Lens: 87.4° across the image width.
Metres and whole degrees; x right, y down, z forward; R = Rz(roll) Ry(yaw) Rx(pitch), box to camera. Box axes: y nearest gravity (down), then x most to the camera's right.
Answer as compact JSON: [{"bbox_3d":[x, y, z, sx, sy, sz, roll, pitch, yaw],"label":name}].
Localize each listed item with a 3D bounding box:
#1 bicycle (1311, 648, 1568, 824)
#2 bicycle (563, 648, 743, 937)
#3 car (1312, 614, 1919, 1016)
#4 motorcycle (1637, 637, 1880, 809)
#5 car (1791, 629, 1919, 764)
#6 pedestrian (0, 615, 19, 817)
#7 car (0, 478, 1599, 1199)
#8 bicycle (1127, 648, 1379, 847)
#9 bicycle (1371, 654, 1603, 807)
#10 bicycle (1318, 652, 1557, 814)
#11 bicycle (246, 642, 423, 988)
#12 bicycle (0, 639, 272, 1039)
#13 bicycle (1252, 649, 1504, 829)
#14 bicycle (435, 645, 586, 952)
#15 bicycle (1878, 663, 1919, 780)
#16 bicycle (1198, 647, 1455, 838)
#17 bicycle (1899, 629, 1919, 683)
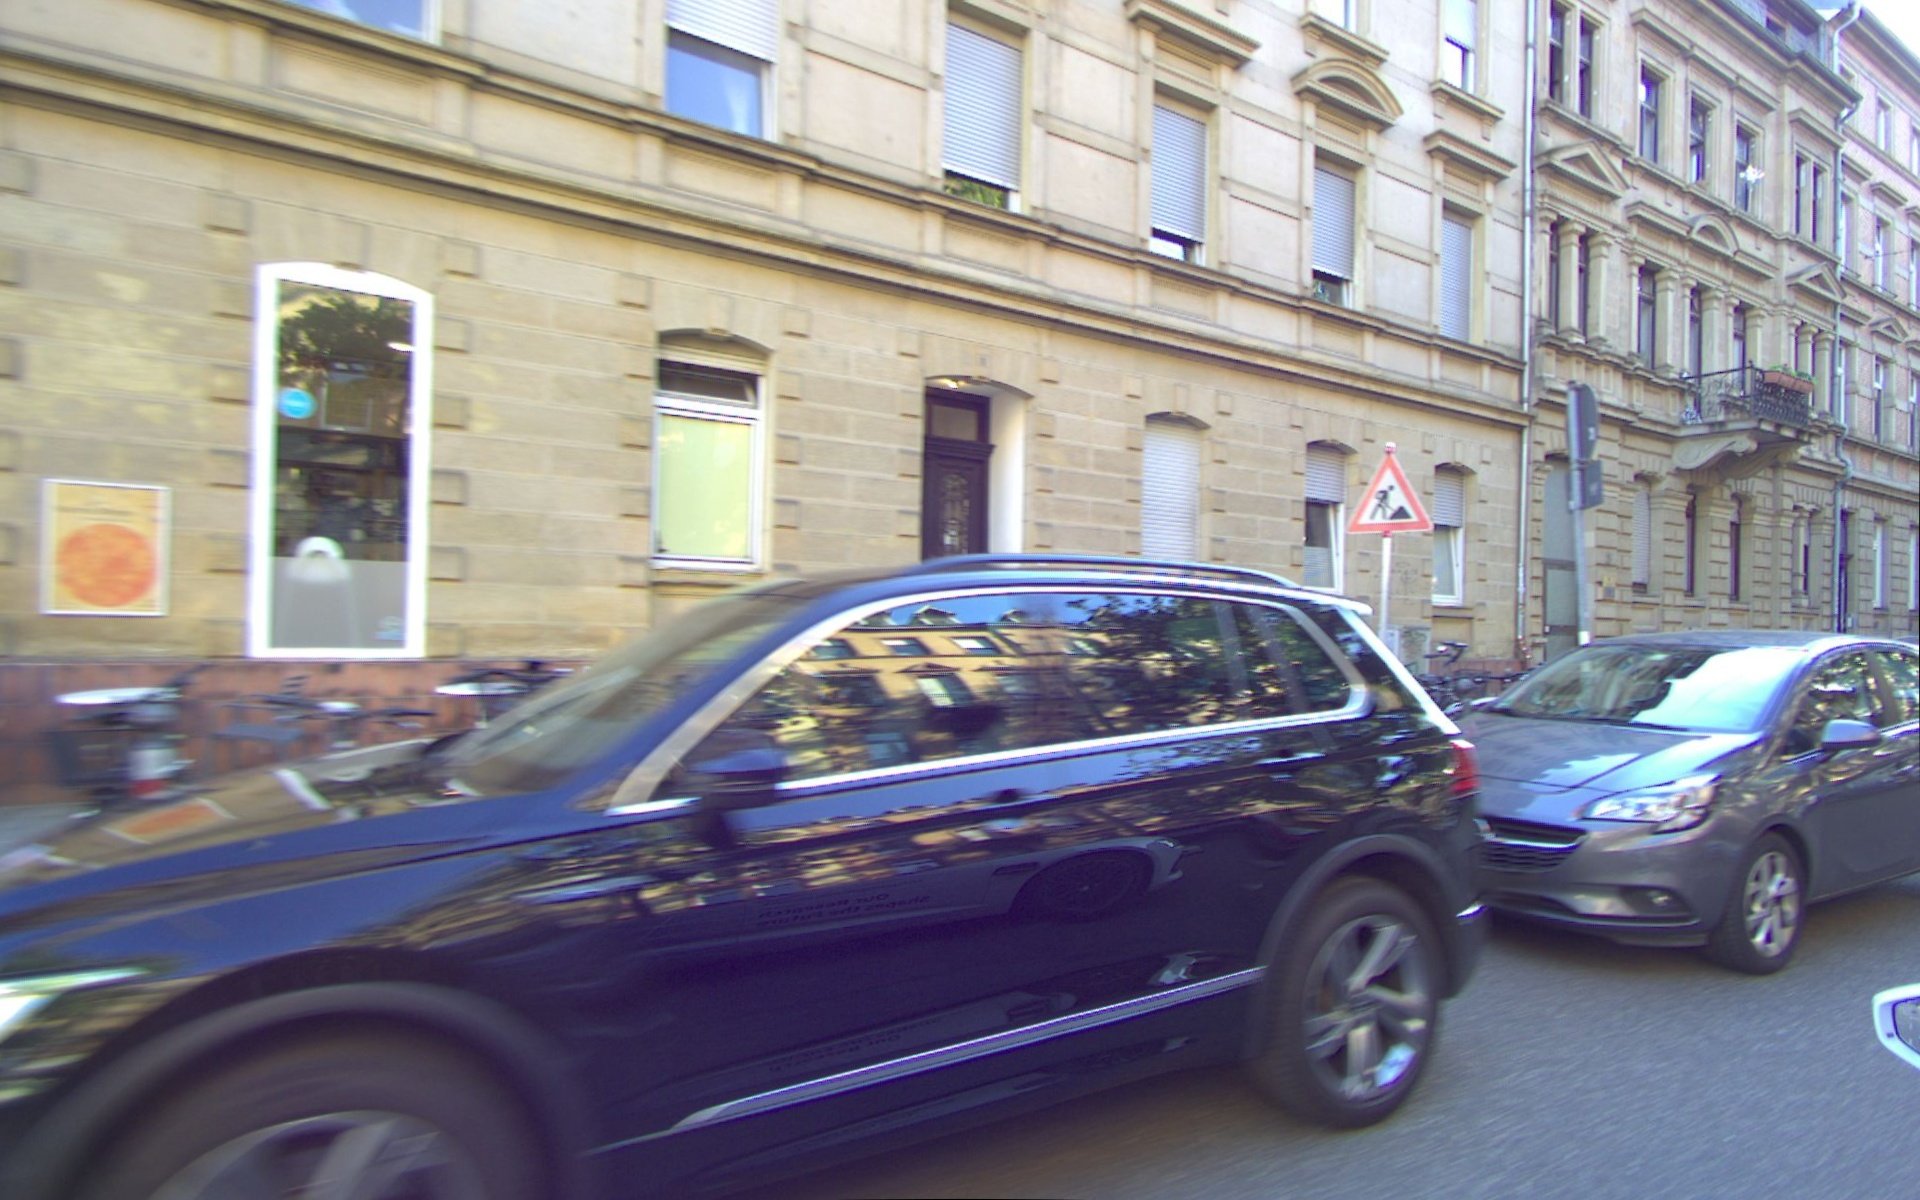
[{"bbox_3d":[3.760,1.011,8.055,0.522,1.143,1.858,2,0,-30],"label":"bicycle"},{"bbox_3d":[-1.675,0.876,5.271,0.522,1.143,1.859,2,0,-28],"label":"bicycle"},{"bbox_3d":[4.041,0.878,5.579,4.011,1.521,1.751,1,-2,-29],"label":"car"},{"bbox_3d":[7.544,1.056,9.443,2.579,1.388,1.059,1,-1,-34],"label":"motorcycle"},{"bbox_3d":[12.454,1.139,12.654,4.011,1.521,1.751,1,-2,-29],"label":"car"},{"bbox_3d":[-6.108,0.696,5.861,0.749,1.230,0.721,2,-1,-33],"label":"pedestrian"},{"bbox_3d":[-0.216,0.687,3.125,4.493,1.621,1.752,1,-2,-28],"label":"car"},{"bbox_3d":[2.017,0.964,7.202,0.522,1.143,1.858,2,0,-30],"label":"bicycle"},{"bbox_3d":[4.724,1.116,9.149,0.522,1.143,1.858,2,0,-30],"label":"bicycle"},{"bbox_3d":[4.030,1.071,8.646,0.522,1.143,1.858,2,0,-30],"label":"bicycle"},{"bbox_3d":[-2.729,0.807,4.518,0.522,1.143,1.859,2,0,-28],"label":"bicycle"},{"bbox_3d":[-3.195,0.771,3.995,0.522,1.143,1.859,2,0,-28],"label":"bicycle"},{"bbox_3d":[3.195,1.008,7.877,0.522,1.143,1.858,2,0,-30],"label":"bicycle"},{"bbox_3d":[-2.286,0.844,4.992,0.522,1.143,1.859,2,0,-28],"label":"bicycle"},{"bbox_3d":[11.235,1.242,10.061,2.864,1.173,1.000,-1,-1,14],"label":"bicycle"},{"bbox_3d":[2.638,0.973,7.458,0.522,1.143,1.858,2,0,-30],"label":"bicycle"},{"bbox_3d":[24.034,1.357,24.668,2.796,1.272,0.736,1,0,-33],"label":"bicycle"}]
